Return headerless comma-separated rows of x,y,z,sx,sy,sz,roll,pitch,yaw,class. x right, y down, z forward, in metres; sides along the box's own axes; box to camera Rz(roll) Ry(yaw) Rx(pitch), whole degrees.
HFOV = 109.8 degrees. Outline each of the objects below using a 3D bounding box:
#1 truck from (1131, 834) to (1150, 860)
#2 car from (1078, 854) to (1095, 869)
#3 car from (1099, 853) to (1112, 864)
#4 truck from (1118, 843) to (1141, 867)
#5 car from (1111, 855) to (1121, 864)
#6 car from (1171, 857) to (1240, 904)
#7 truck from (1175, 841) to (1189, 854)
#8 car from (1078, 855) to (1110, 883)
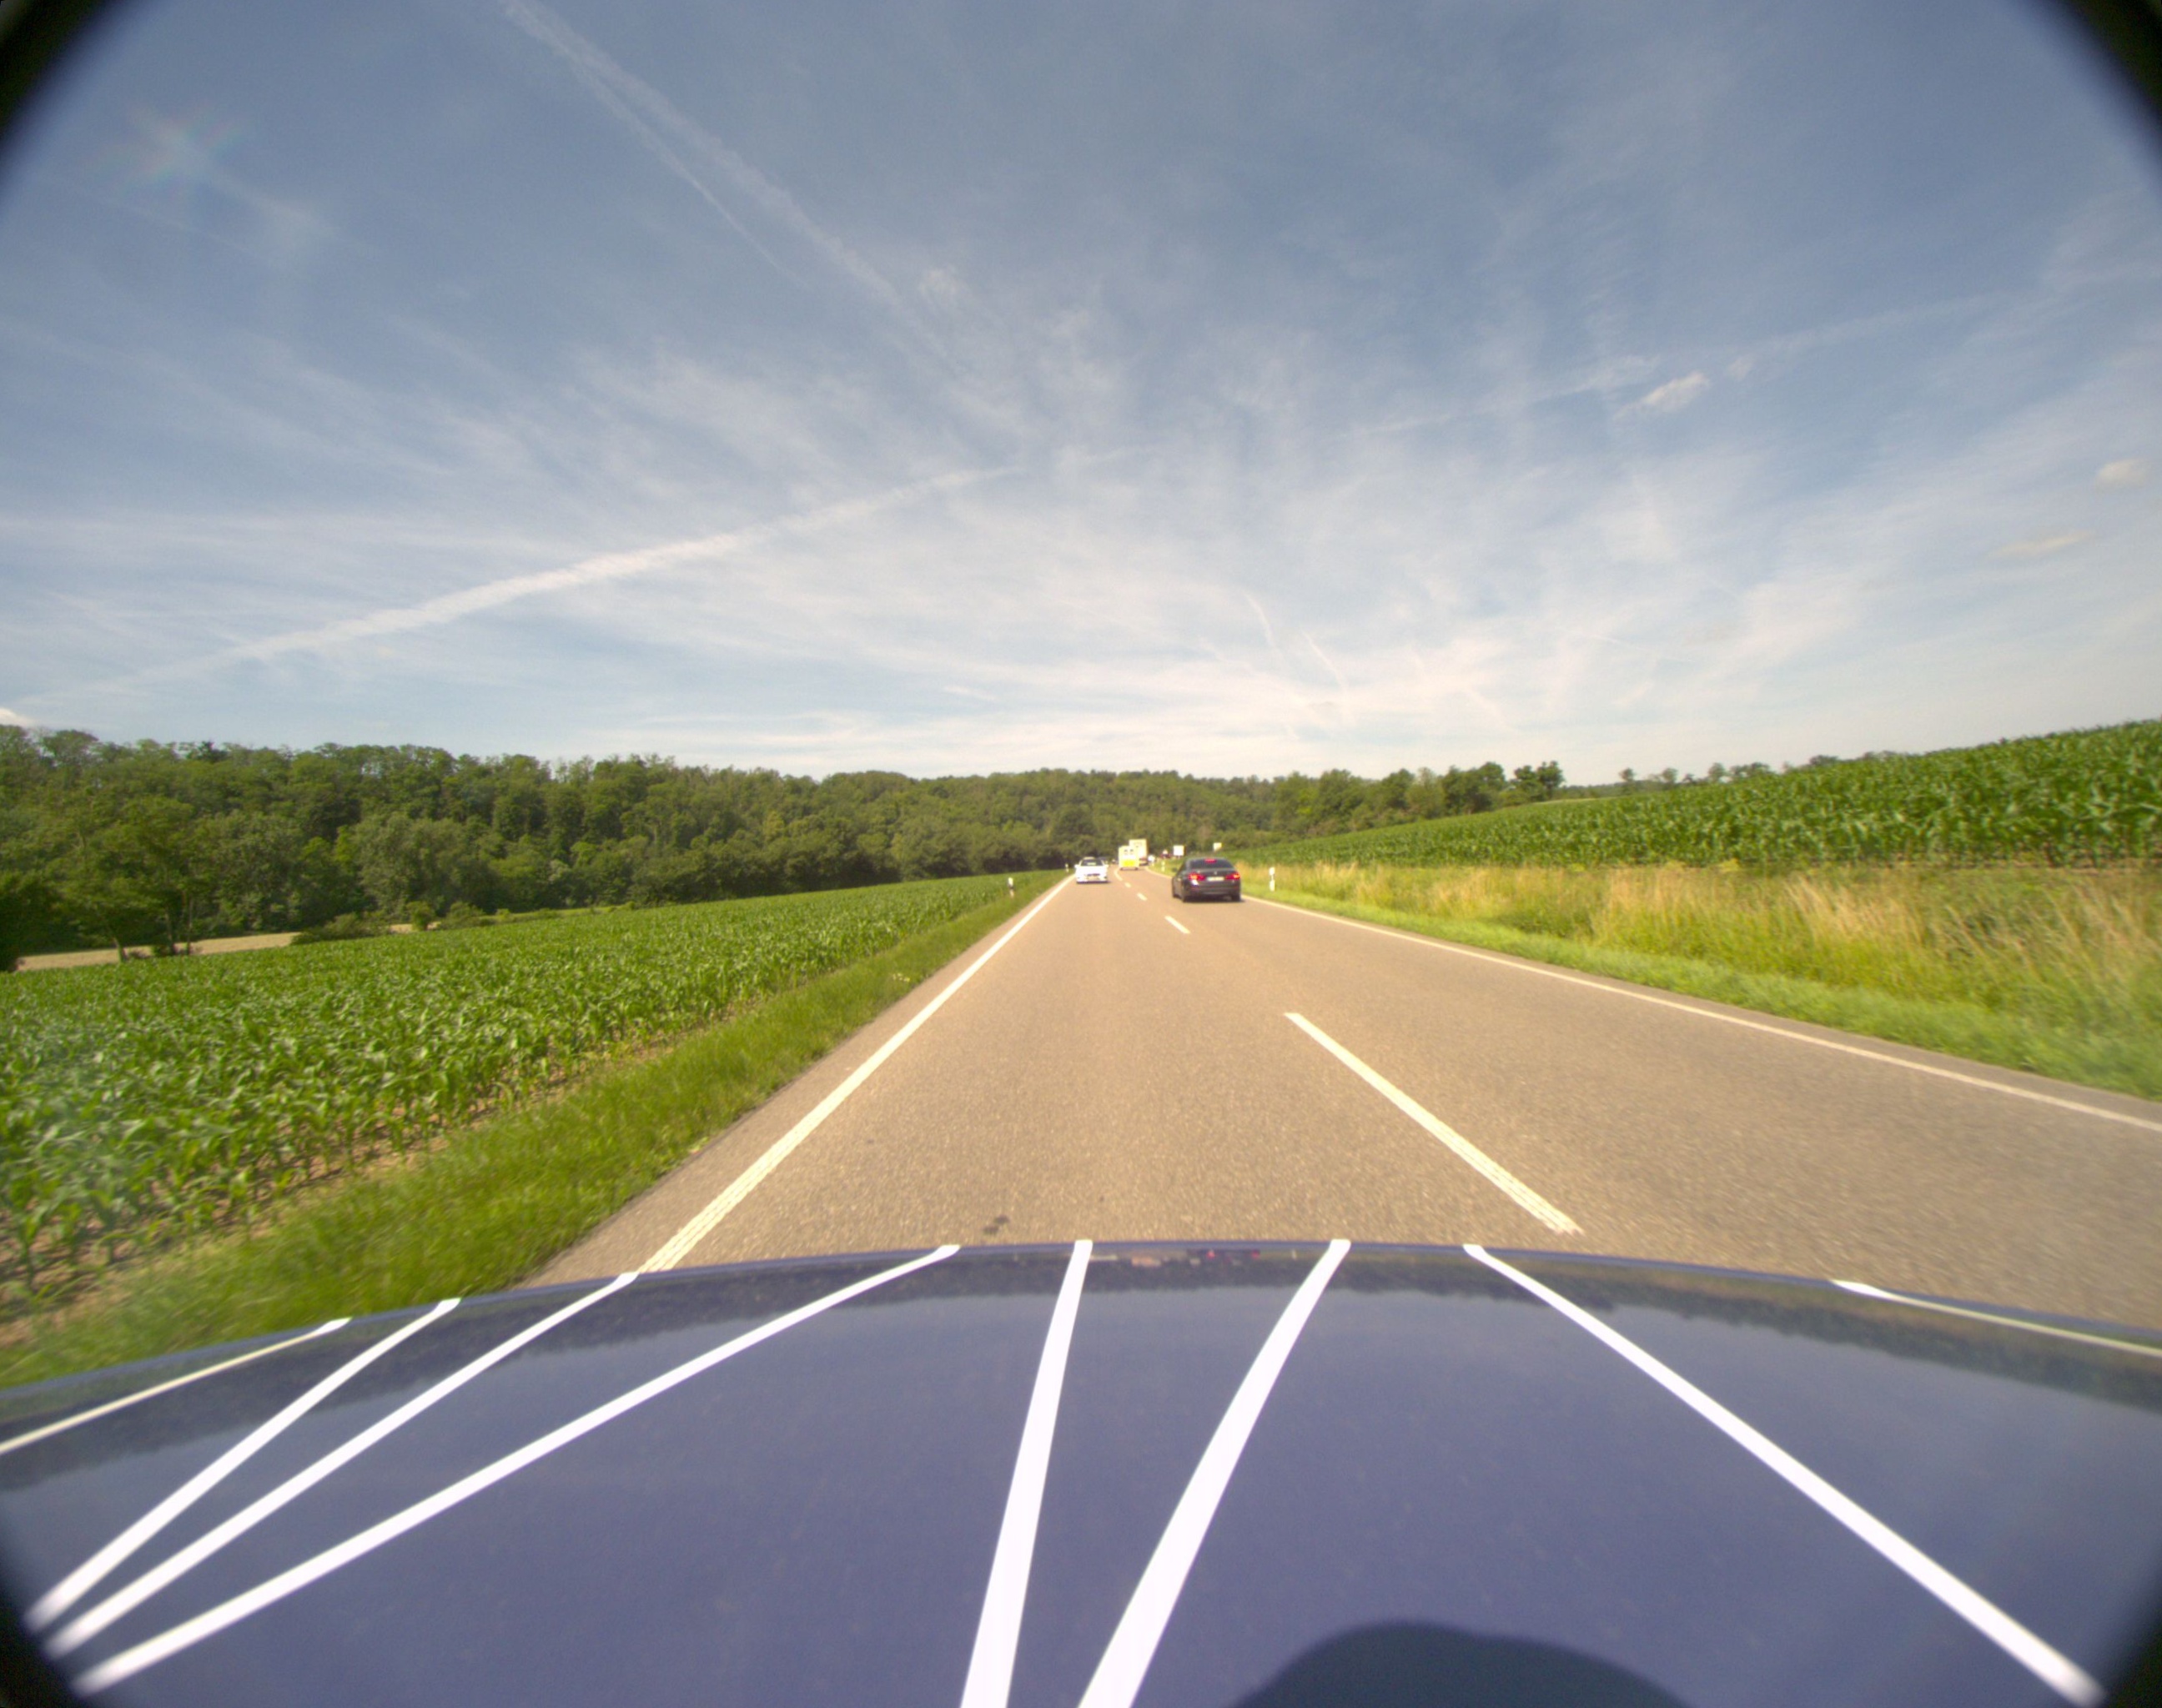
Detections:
9.510,-1.092,123.019,2.833,3.969,16.537,-1,0,4,truck
0.648,0.807,83.315,1.717,1.523,3.999,-2,1,2,car
3.598,0.622,112.725,1.742,1.445,4.036,-1,1,4,car
5.491,0.115,87.008,2.213,2.656,6.416,-1,1,1,truck
6.436,1.008,137.997,1.742,1.445,4.036,-1,1,4,car
4.134,0.831,25.773,1.677,1.448,4.351,-1,0,1,car
28.447,-1.779,213.822,2.745,3.558,9.735,-1,0,14,truck
0.815,0.833,45.006,1.742,1.445,4.035,-1,1,2,car
